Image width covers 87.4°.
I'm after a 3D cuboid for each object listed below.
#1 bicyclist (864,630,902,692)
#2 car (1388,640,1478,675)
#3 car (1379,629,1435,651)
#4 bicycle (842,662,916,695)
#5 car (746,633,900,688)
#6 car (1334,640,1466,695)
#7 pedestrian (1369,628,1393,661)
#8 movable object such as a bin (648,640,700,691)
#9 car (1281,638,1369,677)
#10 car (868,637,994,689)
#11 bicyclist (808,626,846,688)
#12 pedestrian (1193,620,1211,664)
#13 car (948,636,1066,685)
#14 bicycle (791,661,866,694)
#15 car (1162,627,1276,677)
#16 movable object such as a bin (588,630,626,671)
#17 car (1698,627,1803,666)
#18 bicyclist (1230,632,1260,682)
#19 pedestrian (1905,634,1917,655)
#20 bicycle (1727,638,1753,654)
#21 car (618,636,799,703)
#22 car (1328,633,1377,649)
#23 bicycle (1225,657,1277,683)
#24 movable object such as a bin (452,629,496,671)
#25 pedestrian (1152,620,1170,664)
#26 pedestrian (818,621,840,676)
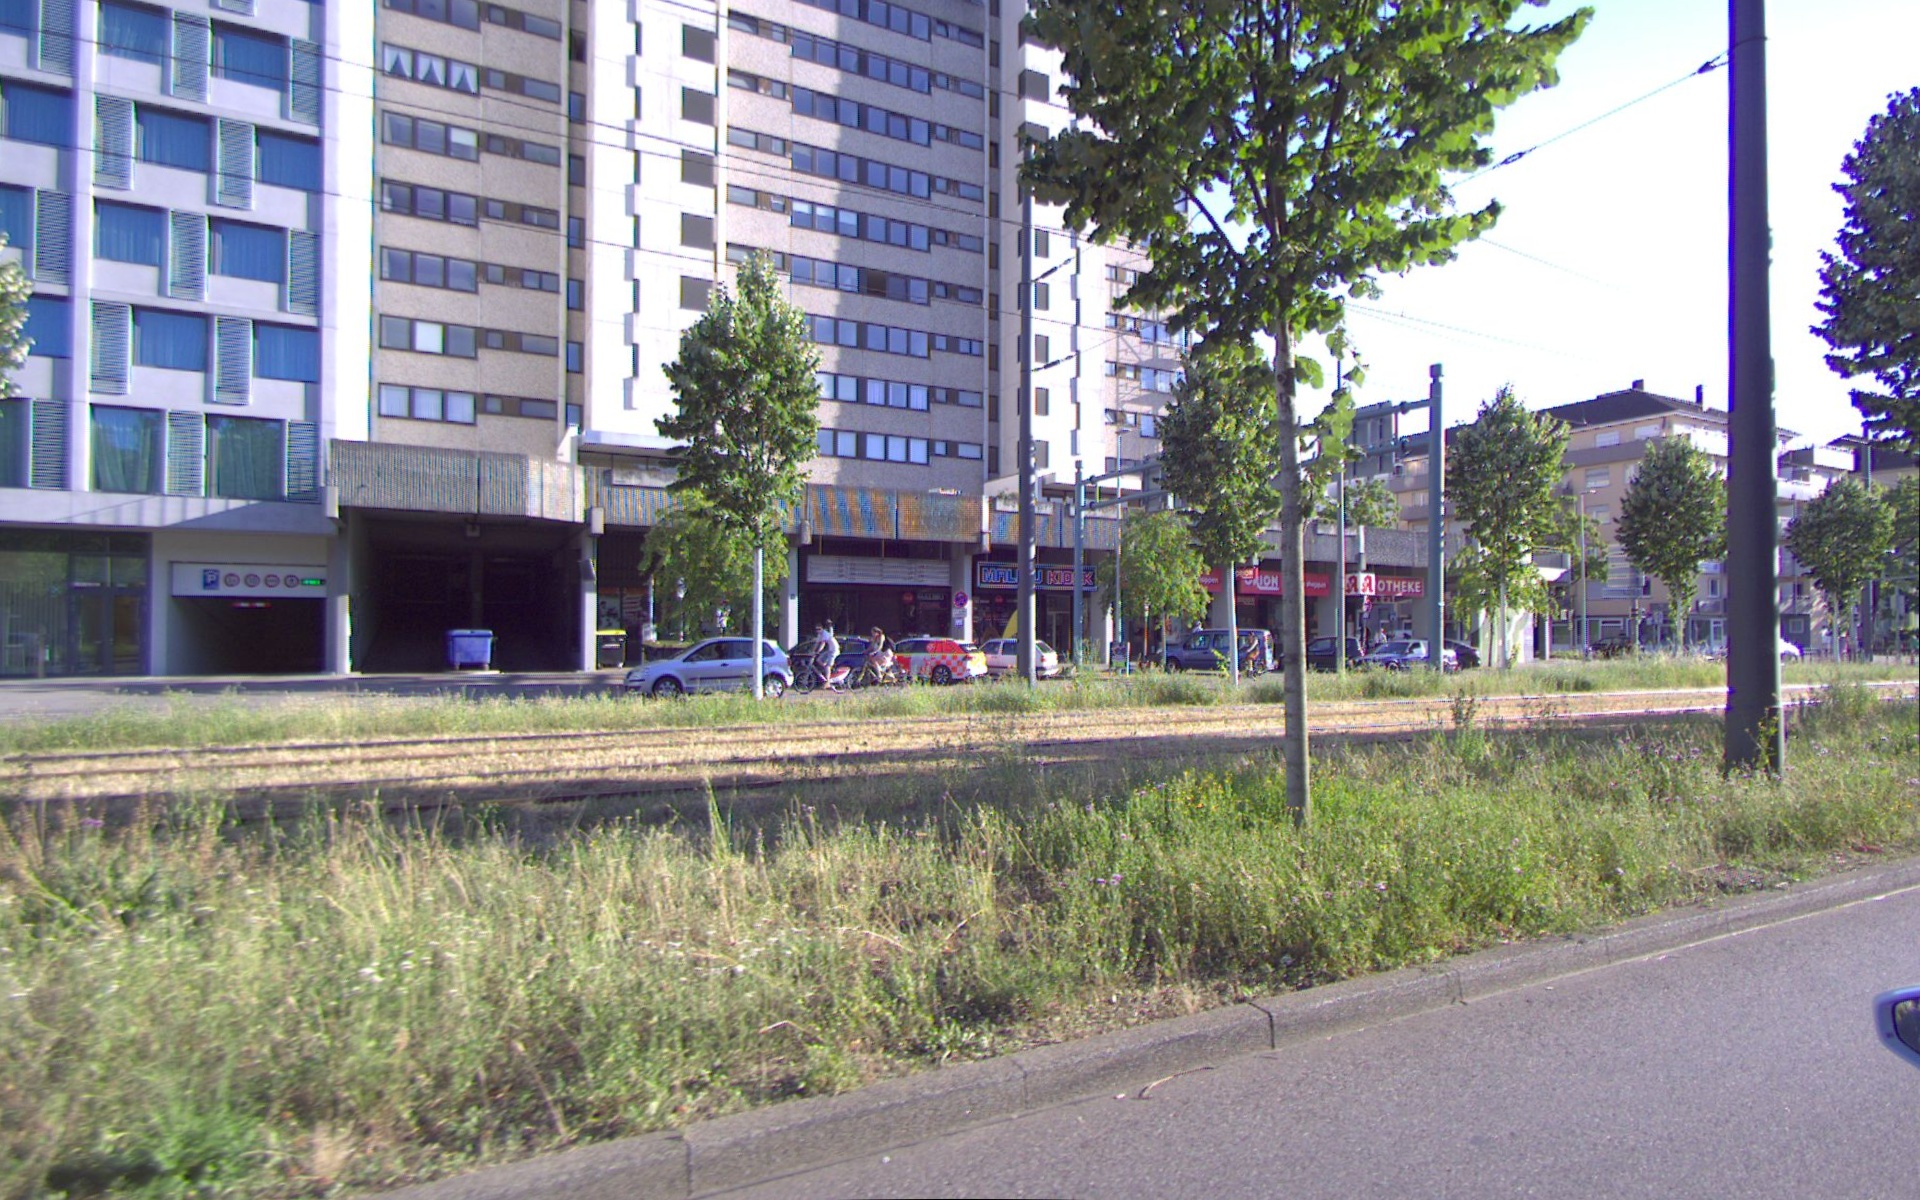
[{"bbox_3d":[-2.143,1.692,27.987,0.908,1.678,0.535,1,-2,-29],"label":"bicyclist"},{"bbox_3d":[20.700,2.507,44.105,3.398,1.291,1.621,2,0,19],"label":"car"},{"bbox_3d":[37.970,3.374,85.419,1.974,1.766,3.973,1,-2,-27],"label":"car"},{"bbox_3d":[-2.236,2.170,27.928,2.077,0.874,0.434,1,-2,-30],"label":"bicycle"},{"bbox_3d":[-4.261,1.852,31.351,4.456,1.464,1.621,2,0,18],"label":"car"},{"bbox_3d":[15.367,2.334,35.068,4.431,1.725,1.862,2,0,-28],"label":"car"},{"bbox_3d":[21.471,2.270,51.203,0.871,1.661,0.771,1,-2,-28],"label":"pedestrian"},{"bbox_3d":[-8.117,1.837,28.498,1.157,1.389,1.380,1,-2,-28],"label":"movable object such as a bin"},{"bbox_3d":[15.504,2.421,42.785,3.398,1.421,1.621,2,0,19],"label":"car"},{"bbox_3d":[-0.944,2.030,32.985,3.726,1.464,1.790,2,0,18],"label":"car"},{"bbox_3d":[-3.719,1.581,28.041,0.908,1.678,0.535,1,-2,-29],"label":"bicyclist"},{"bbox_3d":[11.263,1.939,46.755,0.646,2.040,0.545,1,-1,-28],"label":"pedestrian"},{"bbox_3d":[1.629,2.042,34.593,3.718,1.464,1.621,2,0,19],"label":"car"},{"bbox_3d":[-3.657,2.144,28.044,2.077,0.874,0.434,1,-2,-30],"label":"bicycle"},{"bbox_3d":[10.109,2.001,39.258,4.115,1.713,1.621,2,0,22],"label":"car"},{"bbox_3d":[-12.227,1.723,34.806,1.077,1.389,1.114,1,-2,-29],"label":"movable object such as a bin"},{"bbox_3d":[34.065,1.992,43.256,4.580,1.609,1.863,1,-2,-28],"label":"car"},{"bbox_3d":[10.191,2.023,35.904,0.908,1.768,0.555,1,-2,-29],"label":"bicyclist"},{"bbox_3d":[72.871,3.400,76.962,0.510,1.576,0.448,0,-1,16],"label":"pedestrian"},{"bbox_3d":[57.439,3.351,73.987,2.553,1.152,0.528,1,-1,-28],"label":"bicycle"},{"bbox_3d":[-5.863,1.593,23.477,3.830,1.396,1.603,2,0,-28],"label":"car"},{"bbox_3d":[35.480,3.699,90.864,1.824,1.452,3.972,1,-2,-28],"label":"car"},{"bbox_3d":[10.432,2.495,35.987,2.077,0.874,0.434,1,-2,-30],"label":"bicycle"},{"bbox_3d":[-16.002,1.633,33.050,1.218,1.351,1.380,1,-2,-28],"label":"movable object such as a bin"},{"bbox_3d":[9.437,1.959,47.220,0.646,2.040,0.545,1,-1,-28],"label":"pedestrian"},{"bbox_3d":[-4.919,1.833,37.773,0.646,2.040,0.545,1,-1,-28],"label":"pedestrian"}]
